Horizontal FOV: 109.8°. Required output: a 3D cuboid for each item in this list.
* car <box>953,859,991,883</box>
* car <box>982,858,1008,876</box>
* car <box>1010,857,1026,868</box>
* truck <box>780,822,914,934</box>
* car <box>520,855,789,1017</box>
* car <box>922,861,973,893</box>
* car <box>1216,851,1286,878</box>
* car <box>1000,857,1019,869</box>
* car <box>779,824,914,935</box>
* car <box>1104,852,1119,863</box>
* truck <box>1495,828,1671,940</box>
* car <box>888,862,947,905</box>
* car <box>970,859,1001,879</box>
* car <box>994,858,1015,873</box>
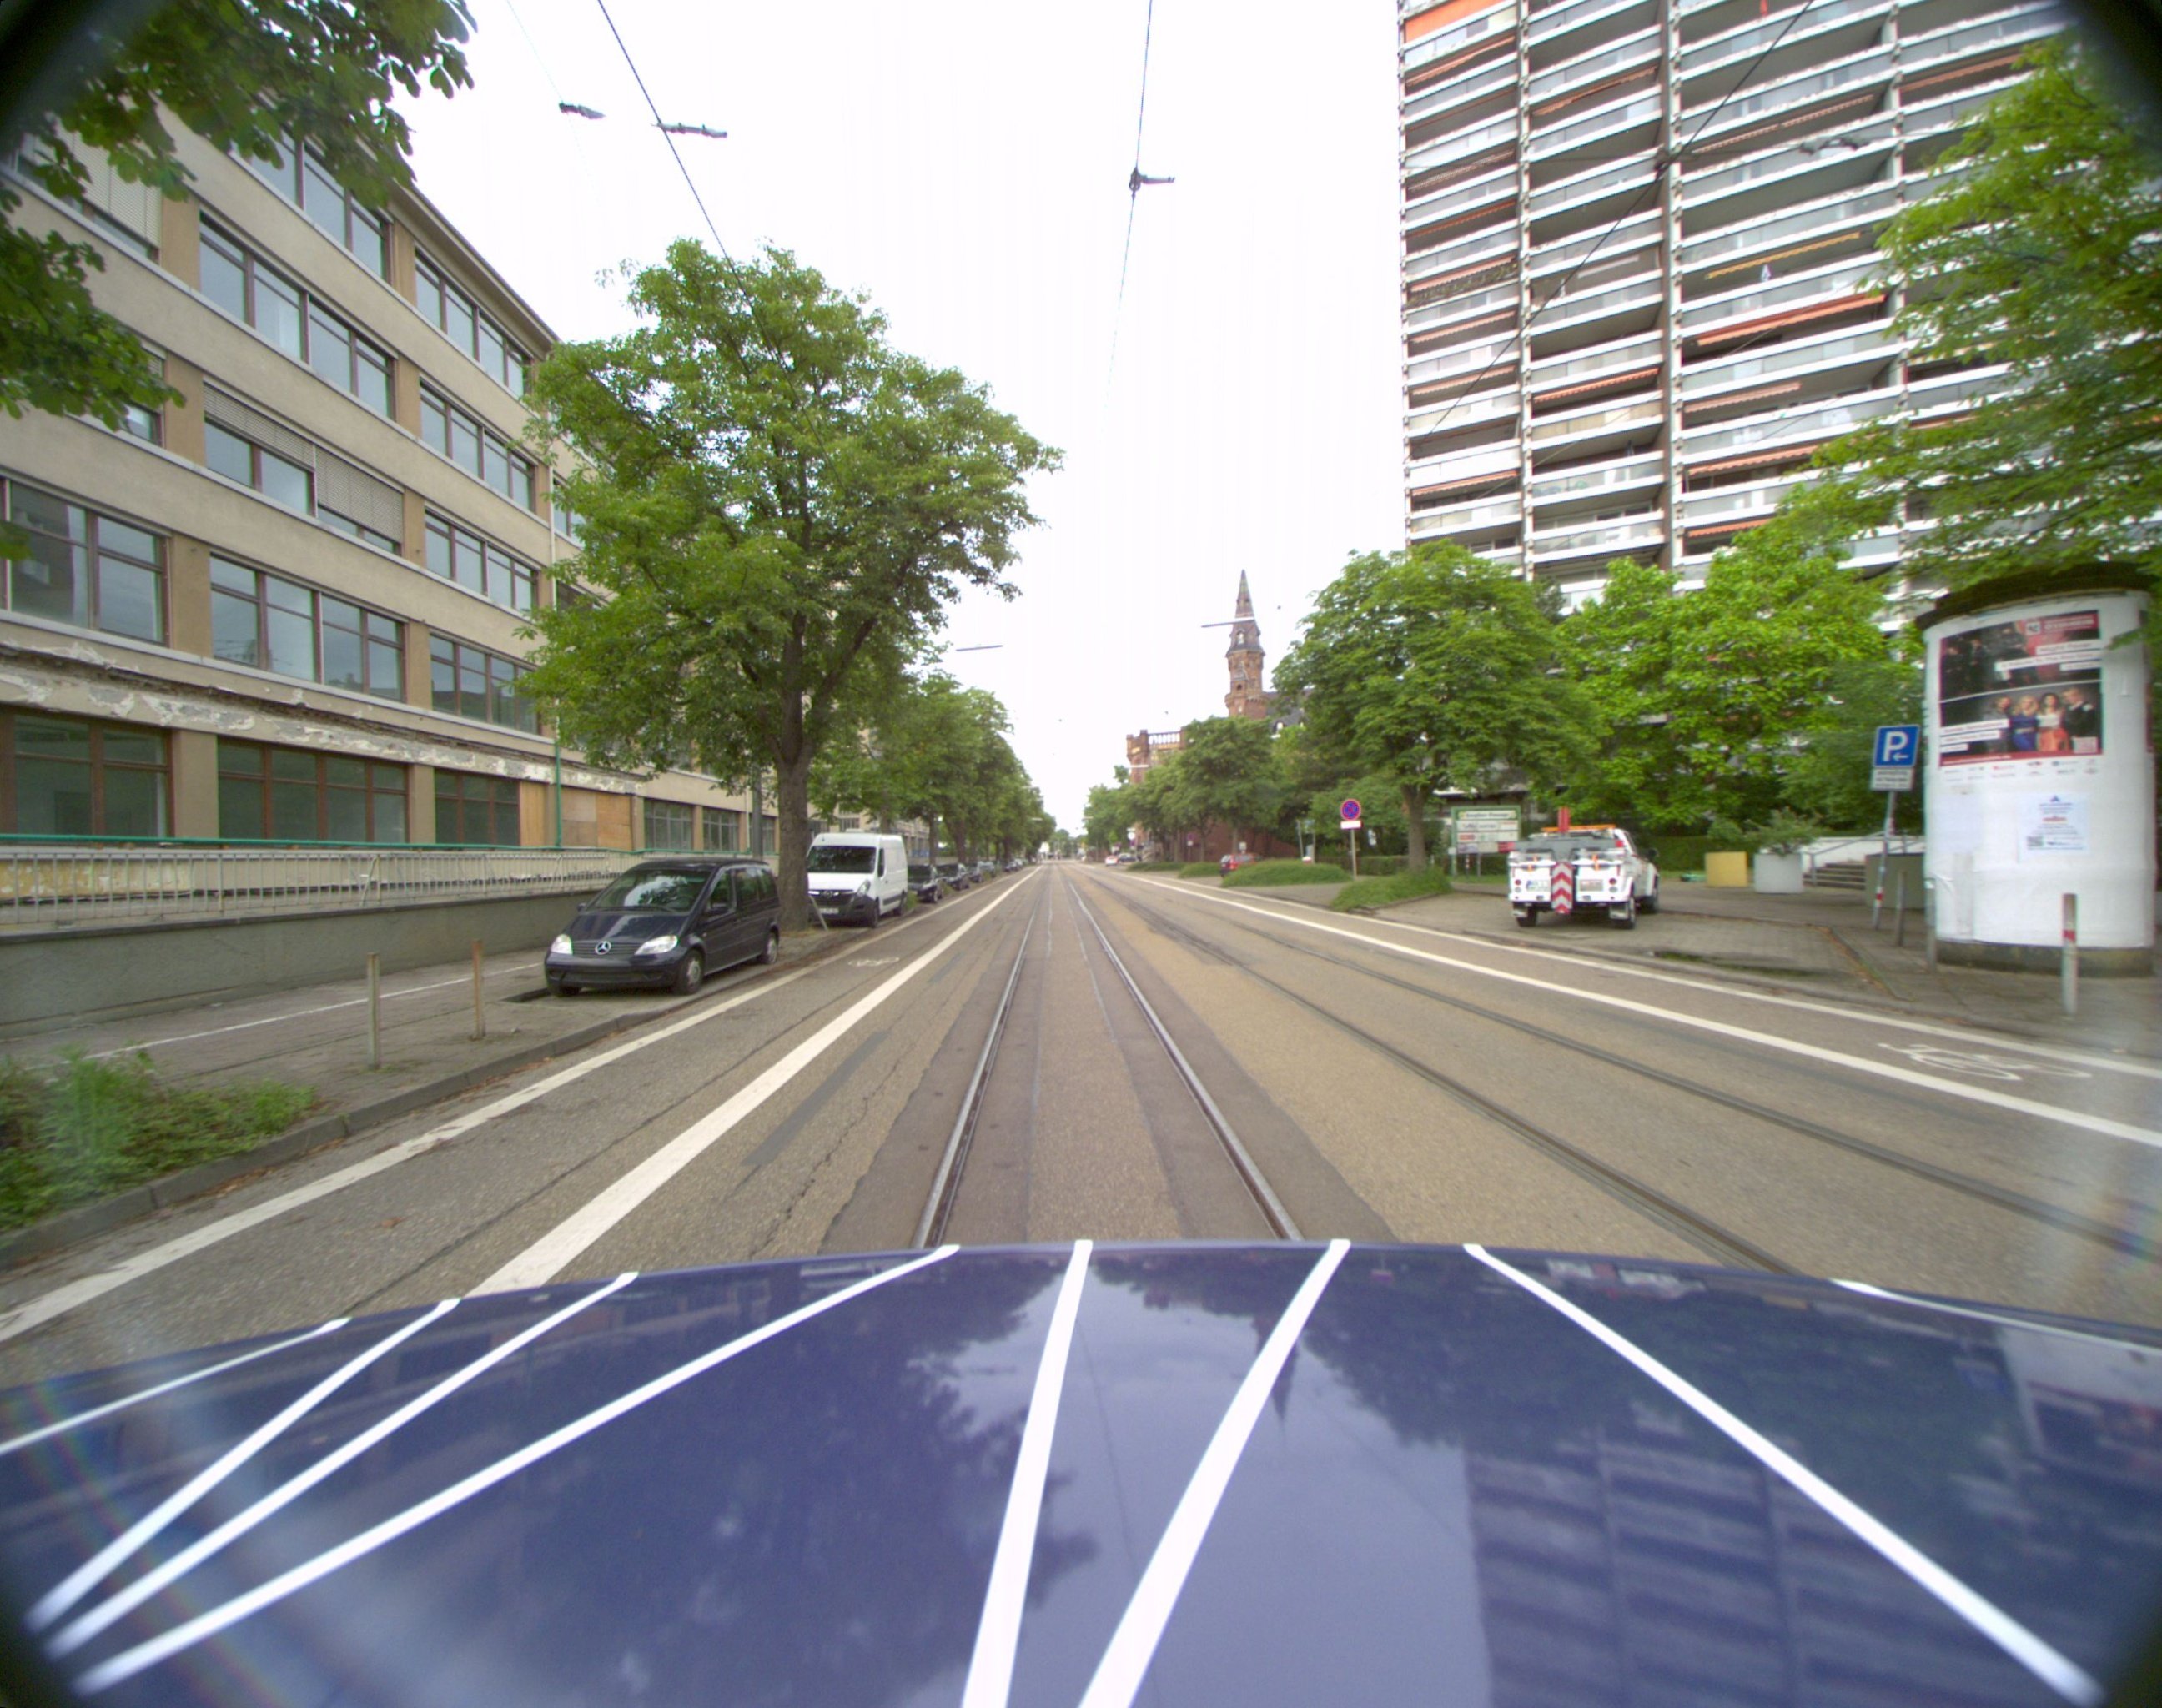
[{"bbox_3d":[-7.336,1.117,51.534,1.999,1.452,4.392,-2,0,-2],"label":"car"},{"bbox_3d":[-7.781,1.127,68.881,1.999,1.452,4.392,-2,0,-2],"label":"car"},{"bbox_3d":[-9.056,1.201,109.241,1.999,1.452,4.392,-2,0,-2],"label":"car"},{"bbox_3d":[-6.176,0.561,20.845,2.118,2.587,5.490,-2,0,-3],"label":"truck"},{"bbox_3d":[-5.824,0.973,11.034,1.658,1.802,4.083,-2,1,-2],"label":"car"},{"bbox_3d":[-6.918,1.153,39.824,1.999,1.452,4.392,-2,0,-2],"label":"car"},{"bbox_3d":[9.631,0.585,43.061,3.505,1.369,1.632,-2,1,-16],"label":"car"},{"bbox_3d":[-8.949,1.131,95.459,1.999,1.452,4.392,-2,0,-2],"label":"car"},{"bbox_3d":[-6.171,0.605,20.830,2.118,2.587,5.490,-2,0,-3],"label":"car"},{"bbox_3d":[4.654,0.538,116.391,1.999,1.521,3.999,-1,0,-2],"label":"car"},{"bbox_3d":[10.056,0.463,15.015,1.994,1.838,5.074,-2,0,44],"label":"truck"},{"bbox_3d":[-6.418,1.132,30.266,1.826,1.491,4.103,0,1,-6],"label":"car"},{"bbox_3d":[-7.605,1.138,60.835,1.999,1.452,4.392,-2,0,-2],"label":"car"},{"bbox_3d":[-8.353,1.266,83.585,1.999,1.452,4.392,-2,0,-2],"label":"car"}]
